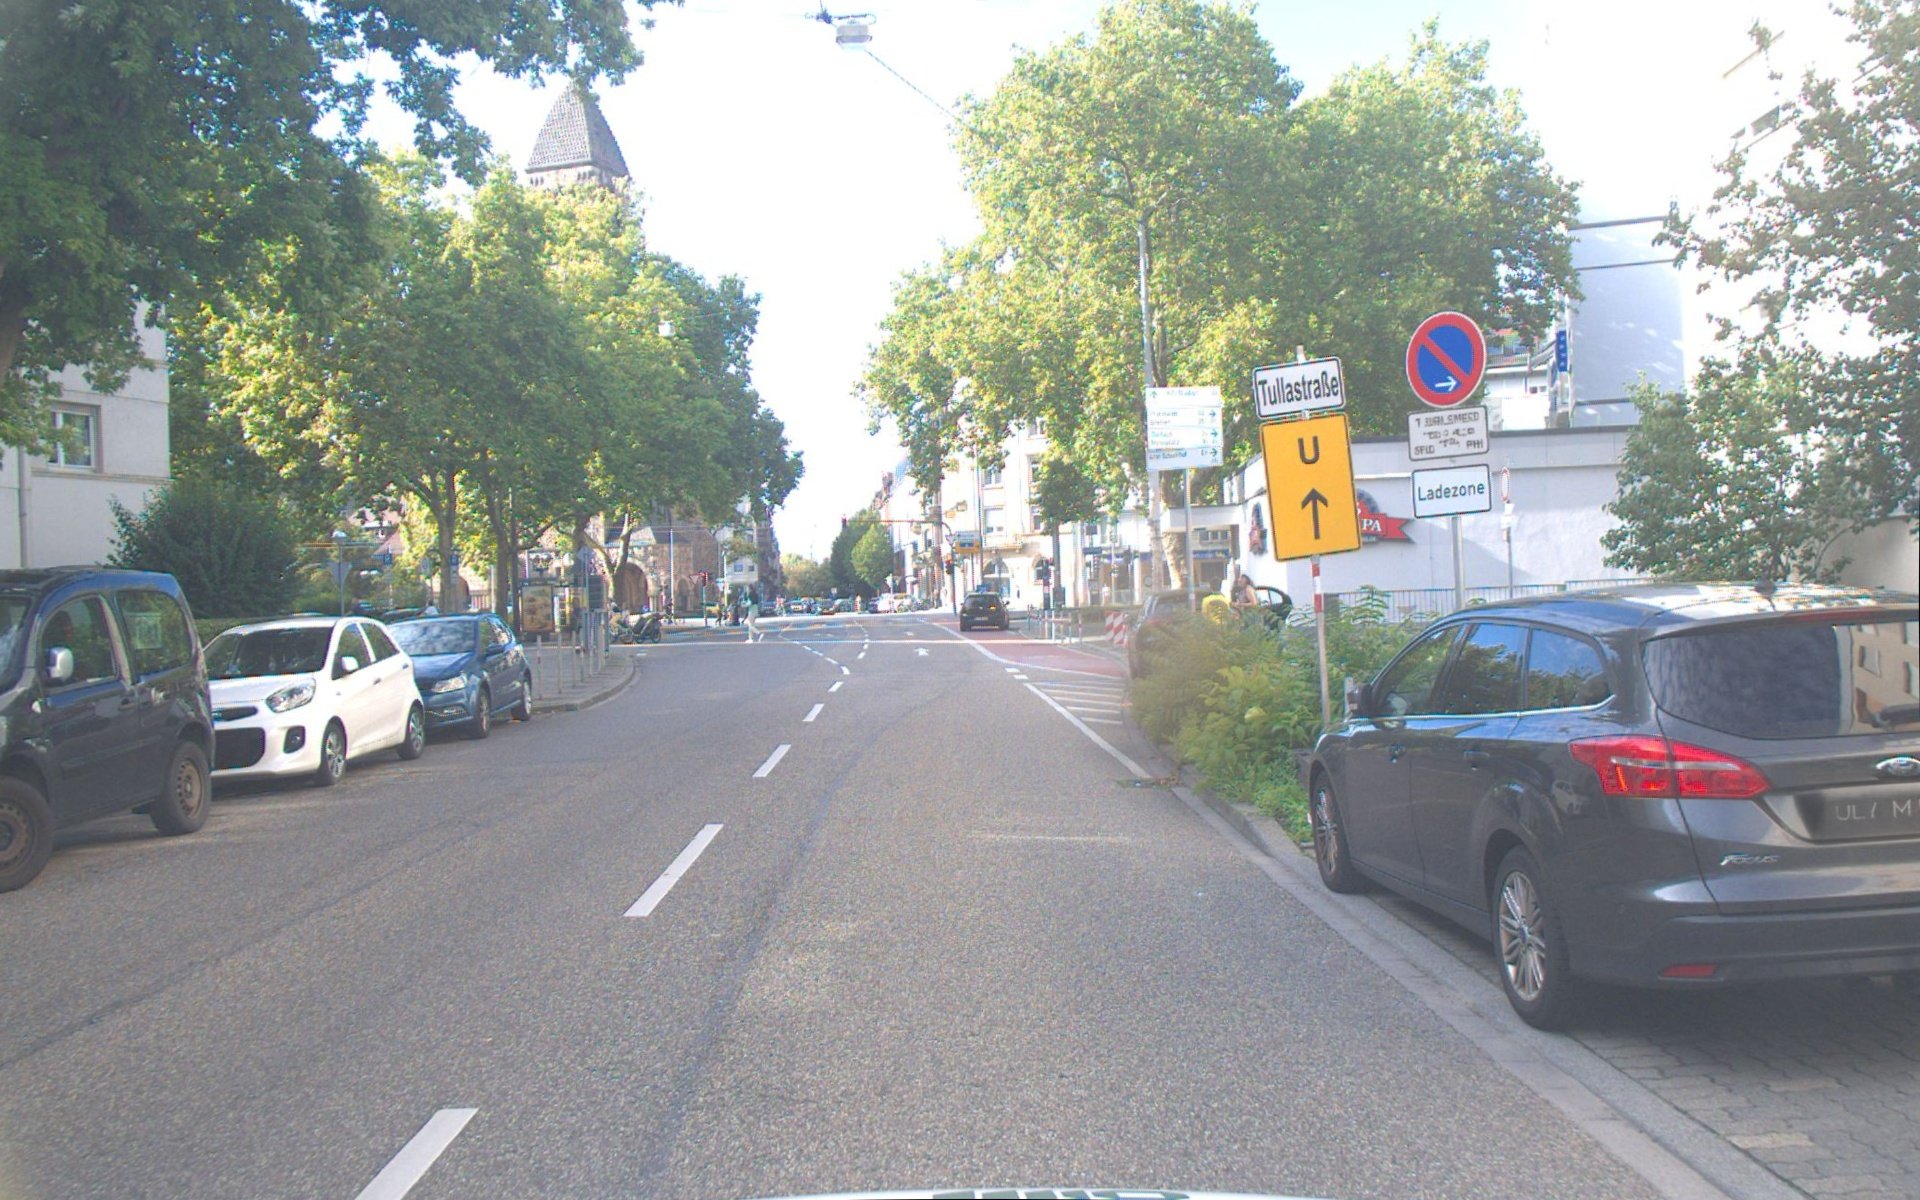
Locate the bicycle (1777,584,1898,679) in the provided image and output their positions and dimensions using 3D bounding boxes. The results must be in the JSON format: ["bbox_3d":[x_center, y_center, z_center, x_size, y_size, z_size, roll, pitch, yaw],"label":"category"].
[{"bbox_3d":[10.440,0.366,19.736,0.511,1.074,1.552,-1,0,-4],"label":"bicycle"}]

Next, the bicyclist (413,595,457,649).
[{"bbox_3d":[-17.012,0.720,53.623,1.086,1.721,0.815,-1,0,19],"label":"bicyclist"}]

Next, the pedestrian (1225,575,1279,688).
[{"bbox_3d":[4.436,0.473,25.151,0.639,1.674,0.743,-1,0,-2],"label":"pedestrian"}]

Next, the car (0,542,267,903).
[{"bbox_3d":[-6.003,0.696,10.197,1.688,1.915,4.190,-4,0,-2],"label":"car"}]

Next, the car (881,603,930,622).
[{"bbox_3d":[-4.664,1.061,141.644,3.913,1.445,1.996,-2,0,-9],"label":"car"}]

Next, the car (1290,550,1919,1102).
[{"bbox_3d":[2.751,0.632,6.938,1.656,1.555,4.235,-3,0,-3],"label":"car"}]

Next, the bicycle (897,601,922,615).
[{"bbox_3d":[-4.268,0.714,139.907,1.989,1.101,0.628,-2,0,-15],"label":"bicycle"}]

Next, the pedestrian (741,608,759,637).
[{"bbox_3d":[-12.593,1.359,99.358,0.764,1.691,0.779,-2,0,18],"label":"pedestrian"}]

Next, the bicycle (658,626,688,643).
[{"bbox_3d":[-18.211,2.198,105.002,1.792,0.972,0.573,-2,0,21],"label":"bicycle"}]

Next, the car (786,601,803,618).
[{"bbox_3d":[-21.708,1.245,217.142,1.953,2.049,3.999,-2,0,-1],"label":"car"}]

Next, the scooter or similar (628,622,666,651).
[{"bbox_3d":[-10.802,1.267,57.164,0.792,0.939,1.011,-2,0,35],"label":"scooter or similar"}]

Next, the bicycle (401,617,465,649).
[{"bbox_3d":[-17.106,1.076,53.701,1.880,1.011,0.763,-1,0,19],"label":"bicycle"}]

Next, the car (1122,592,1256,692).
[{"bbox_3d":[3.732,0.644,27.542,1.724,1.436,4.234,-3,0,2],"label":"car"}]

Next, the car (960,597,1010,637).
[{"bbox_3d":[0.946,0.624,63.896,1.716,1.438,3.998,-1,0,-2],"label":"car"}]

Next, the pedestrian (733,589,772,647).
[{"bbox_3d":[-6.531,0.550,52.052,1.057,1.784,0.914,-1,0,-18],"label":"pedestrian"}]

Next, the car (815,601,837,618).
[{"bbox_3d":[-12.045,0.843,148.724,1.911,1.396,3.996,-2,0,-5],"label":"car"}]

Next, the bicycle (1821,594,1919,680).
[{"bbox_3d":[10.983,0.422,19.759,0.468,0.980,1.552,-1,0,-4],"label":"bicycle"}]

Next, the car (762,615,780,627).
[{"bbox_3d":[-19.868,2.192,173.953,1.519,1.251,3.586,-1,0,-2],"label":"car"}]

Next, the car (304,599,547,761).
[{"bbox_3d":[-6.348,0.879,20.096,1.764,1.648,3.801,-4,0,-3],"label":"car"}]

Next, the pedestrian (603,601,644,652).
[{"bbox_3d":[-11.463,0.895,56.310,0.799,1.683,1.072,-2,0,34],"label":"pedestrian"}]

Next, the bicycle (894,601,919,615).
[{"bbox_3d":[-4.500,0.665,139.191,1.989,1.101,0.618,-2,0,-15],"label":"bicycle"}]

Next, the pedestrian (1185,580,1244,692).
[{"bbox_3d":[3.708,0.520,24.132,0.639,1.565,0.743,-3,0,-2],"label":"pedestrian"}]

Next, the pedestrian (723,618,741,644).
[{"bbox_3d":[-13.395,1.823,97.248,0.765,1.457,0.731,-2,0,21],"label":"pedestrian"}]

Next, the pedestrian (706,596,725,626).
[{"bbox_3d":[-14.626,0.658,98.918,0.798,1.657,0.605,-5,0,19],"label":"pedestrian"}]

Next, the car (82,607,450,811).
[{"bbox_3d":[-6.299,0.907,15.521,1.763,1.519,3.802,-4,0,0],"label":"car"}]

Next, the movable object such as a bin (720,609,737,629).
[{"bbox_3d":[-13.809,1.132,98.631,0.820,1.143,0.575,-2,0,18],"label":"movable object such as a bin"}]
